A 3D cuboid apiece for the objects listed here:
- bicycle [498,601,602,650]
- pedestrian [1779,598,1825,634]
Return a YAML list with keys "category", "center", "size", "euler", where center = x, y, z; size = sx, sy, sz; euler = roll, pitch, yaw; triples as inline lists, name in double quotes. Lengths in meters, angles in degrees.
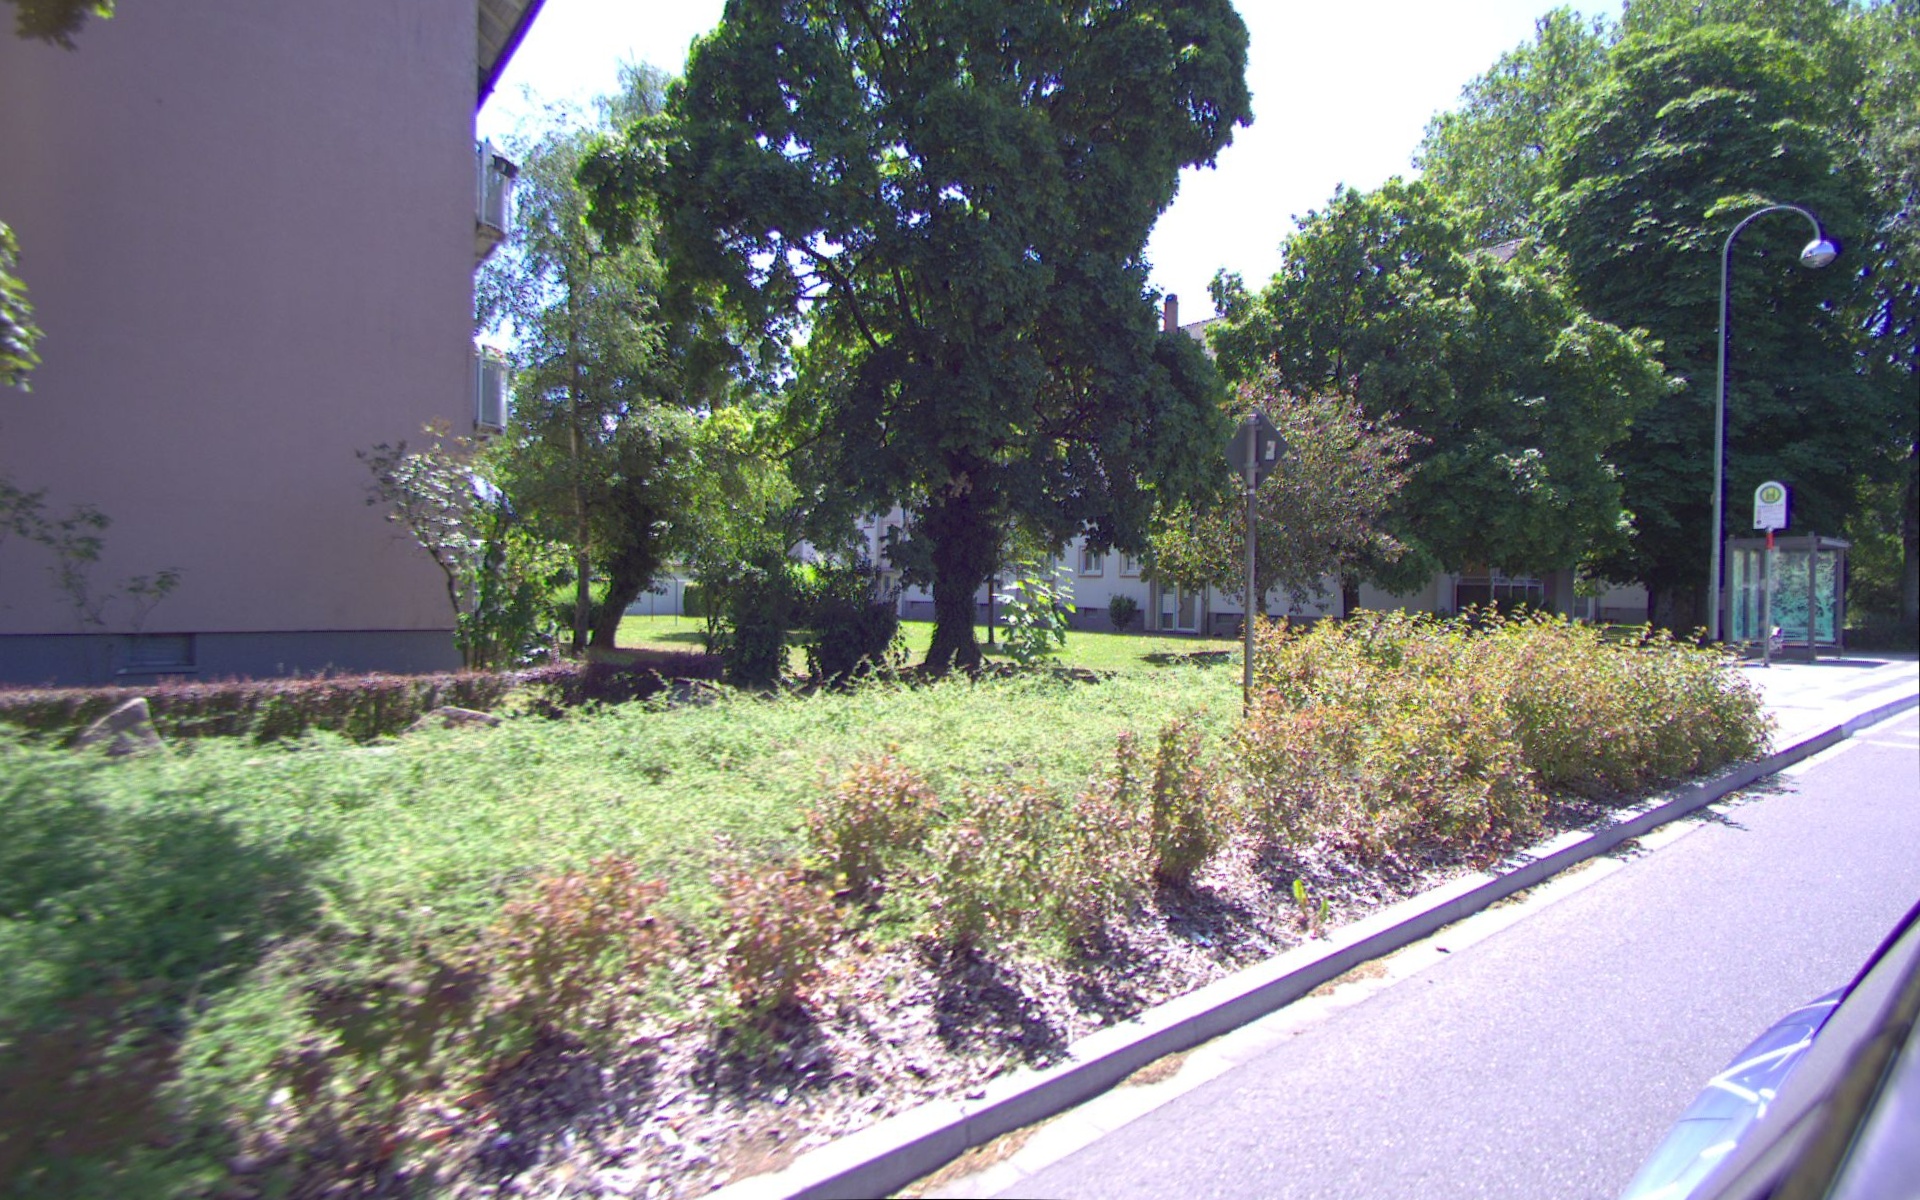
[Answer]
- category: "bicycle"
  center: [-9.648, 0.580, 23.856]
  size: [2.146, 1.079, 0.724]
  euler: [0, 0, -39]
- category: "pedestrian"
  center: [31.416, 0.573, 37.760]
  size: [1.047, 1.309, 0.943]
  euler: [0, 1, -26]
